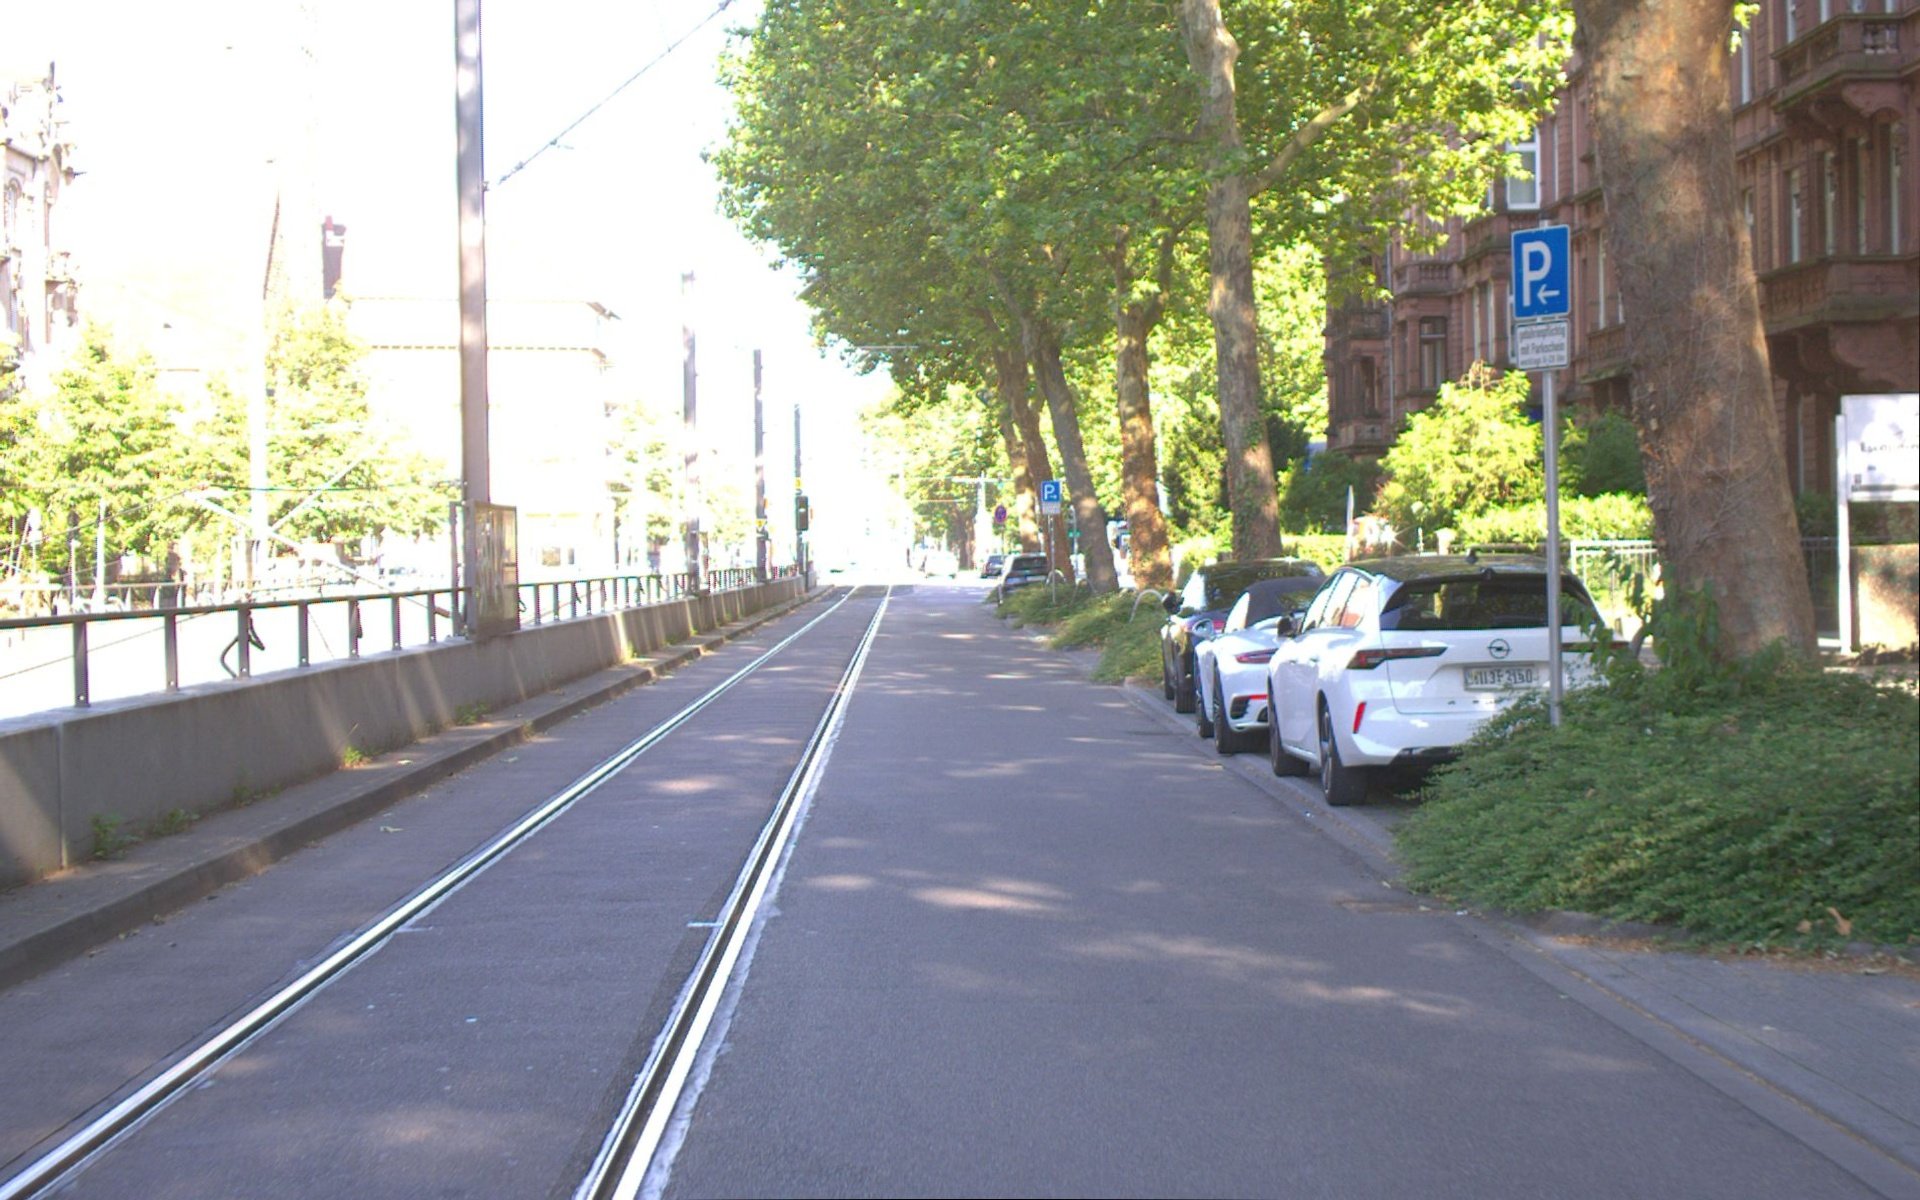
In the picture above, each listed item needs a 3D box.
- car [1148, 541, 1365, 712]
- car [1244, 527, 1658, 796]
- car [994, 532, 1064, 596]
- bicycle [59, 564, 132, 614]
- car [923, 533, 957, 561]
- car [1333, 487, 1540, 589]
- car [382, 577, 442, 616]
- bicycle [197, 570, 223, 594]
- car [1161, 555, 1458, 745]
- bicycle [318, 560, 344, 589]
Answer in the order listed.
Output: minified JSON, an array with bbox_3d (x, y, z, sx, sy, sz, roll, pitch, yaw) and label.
[{"bbox_3d":[2.832,0.200,33.730,1.732,1.531,4.805,-1,1,1],"label":"car"},{"bbox_3d":[2.935,0.306,21.525,1.802,1.472,4.647,-1,1,-1],"label":"car"},{"bbox_3d":[1.807,-0.966,91.236,1.616,1.581,4.417,-2,1,-2],"label":"car"},{"bbox_3d":[-22.708,-0.291,90.302,1.731,1.275,0.599,-1,1,5],"label":"bicycle"},{"bbox_3d":[-1.105,-2.907,188.925,1.745,1.457,3.645,1,1,-2],"label":"car"},{"bbox_3d":[10.582,-1.381,76.593,4.175,2.007,2.000,-4,1,-2],"label":"car"},{"bbox_3d":[-23.511,-0.171,147.616,1.716,1.550,4.510,1,1,1],"label":"car"},{"bbox_3d":[-26.472,-0.639,121.408,0.416,0.797,1.887,1,1,2],"label":"bicycle"},{"bbox_3d":[2.631,0.336,26.746,1.830,1.322,4.000,-1,1,-1],"label":"car"},{"bbox_3d":[-23.293,-0.942,127.239,0.485,1.019,1.893,1,1,-25],"label":"bicycle"}]
